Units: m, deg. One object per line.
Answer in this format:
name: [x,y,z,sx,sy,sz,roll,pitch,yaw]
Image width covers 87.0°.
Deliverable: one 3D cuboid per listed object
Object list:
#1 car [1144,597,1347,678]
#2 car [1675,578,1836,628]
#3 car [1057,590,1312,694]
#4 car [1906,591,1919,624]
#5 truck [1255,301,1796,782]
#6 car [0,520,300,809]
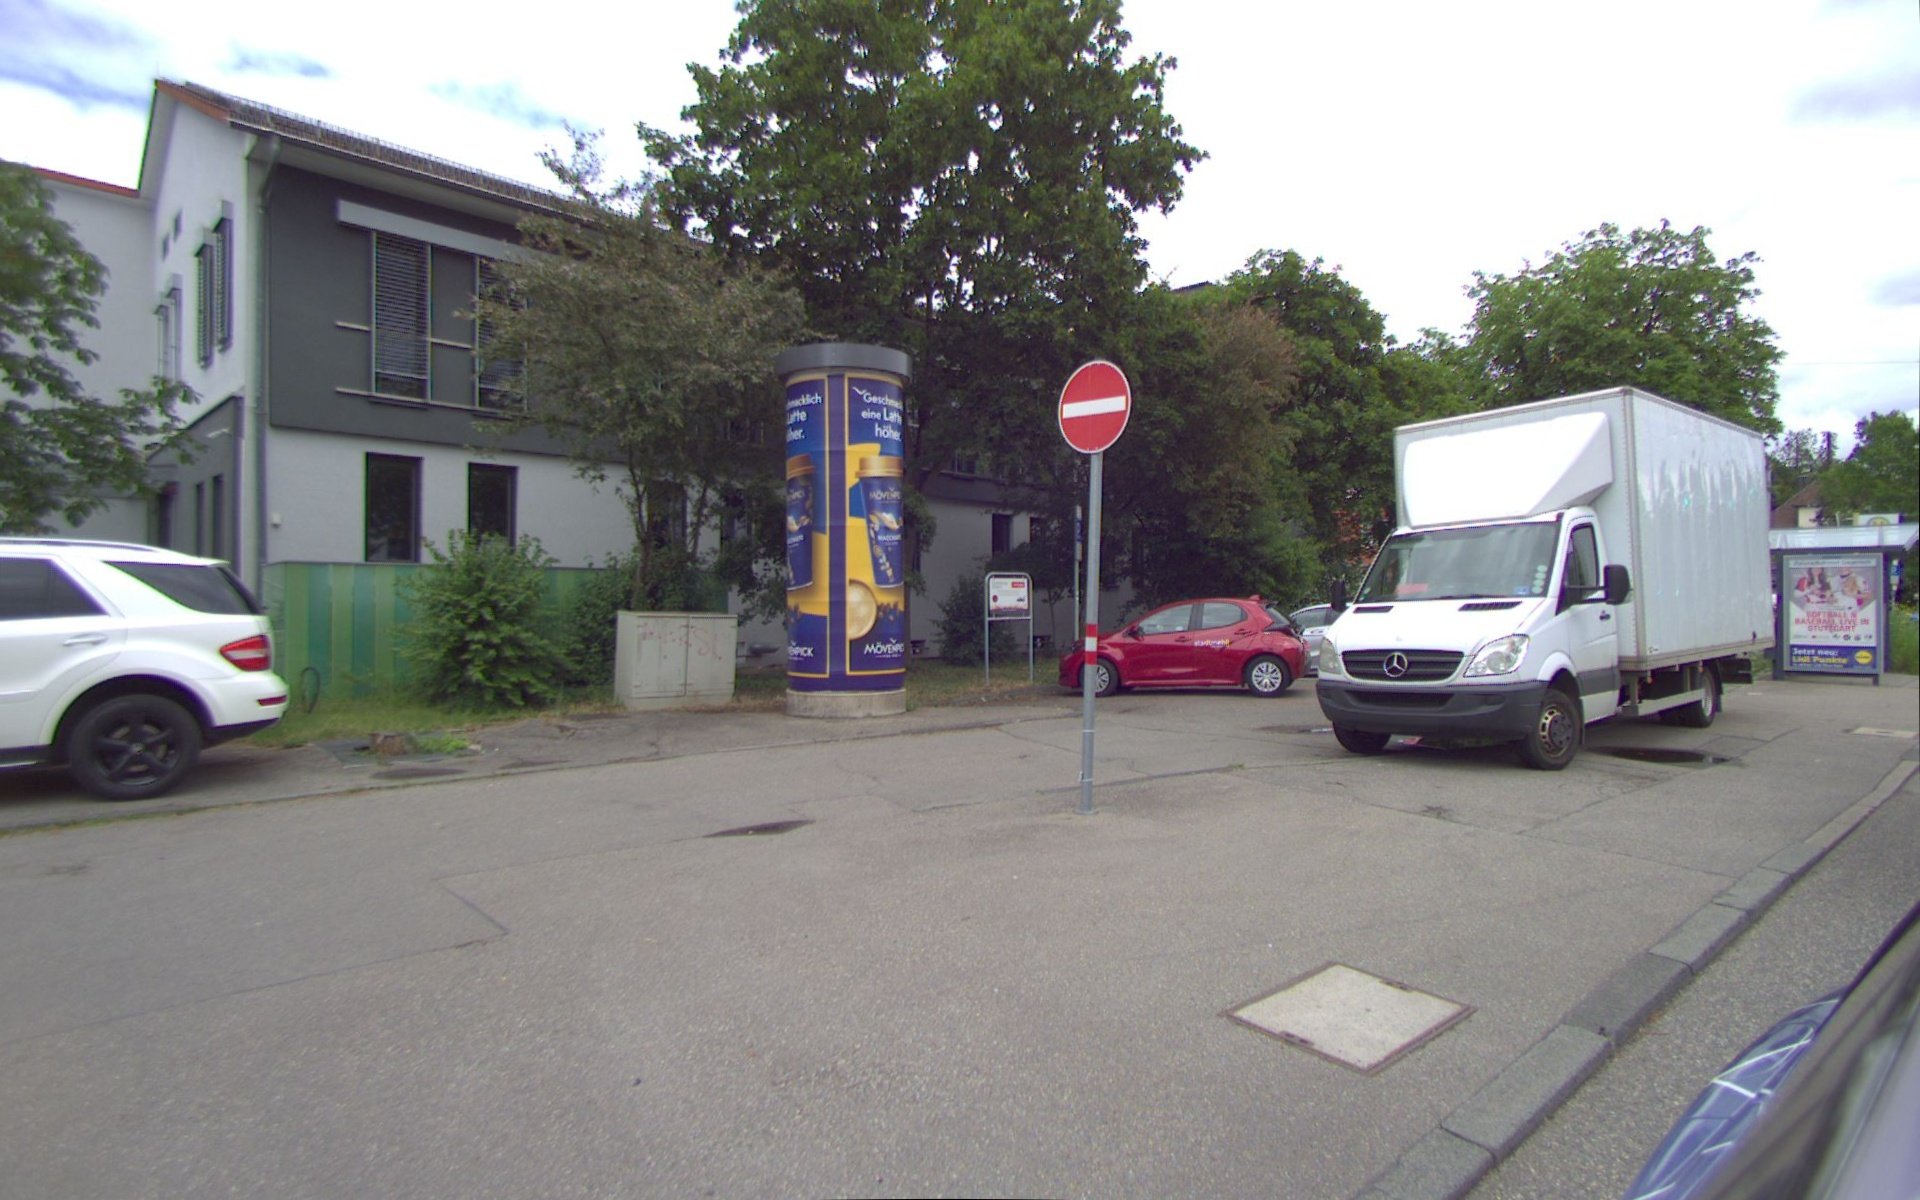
car: [5.696,0.701,20.275,3.754,1.492,1.787,0,0,19]
car: [29.503,0.119,37.622,4.603,1.771,1.852,0,0,-3]
car: [3.510,0.629,15.848,3.687,1.464,1.595,-1,-1,23]
car: [53.328,0.395,53.908,3.928,1.772,1.849,0,0,4]
truck: [6.524,-0.449,10.978,7.671,3.570,2.578,0,0,-40]
car: [-7.252,0.397,6.853,4.440,1.860,1.997,-1,2,-42]
